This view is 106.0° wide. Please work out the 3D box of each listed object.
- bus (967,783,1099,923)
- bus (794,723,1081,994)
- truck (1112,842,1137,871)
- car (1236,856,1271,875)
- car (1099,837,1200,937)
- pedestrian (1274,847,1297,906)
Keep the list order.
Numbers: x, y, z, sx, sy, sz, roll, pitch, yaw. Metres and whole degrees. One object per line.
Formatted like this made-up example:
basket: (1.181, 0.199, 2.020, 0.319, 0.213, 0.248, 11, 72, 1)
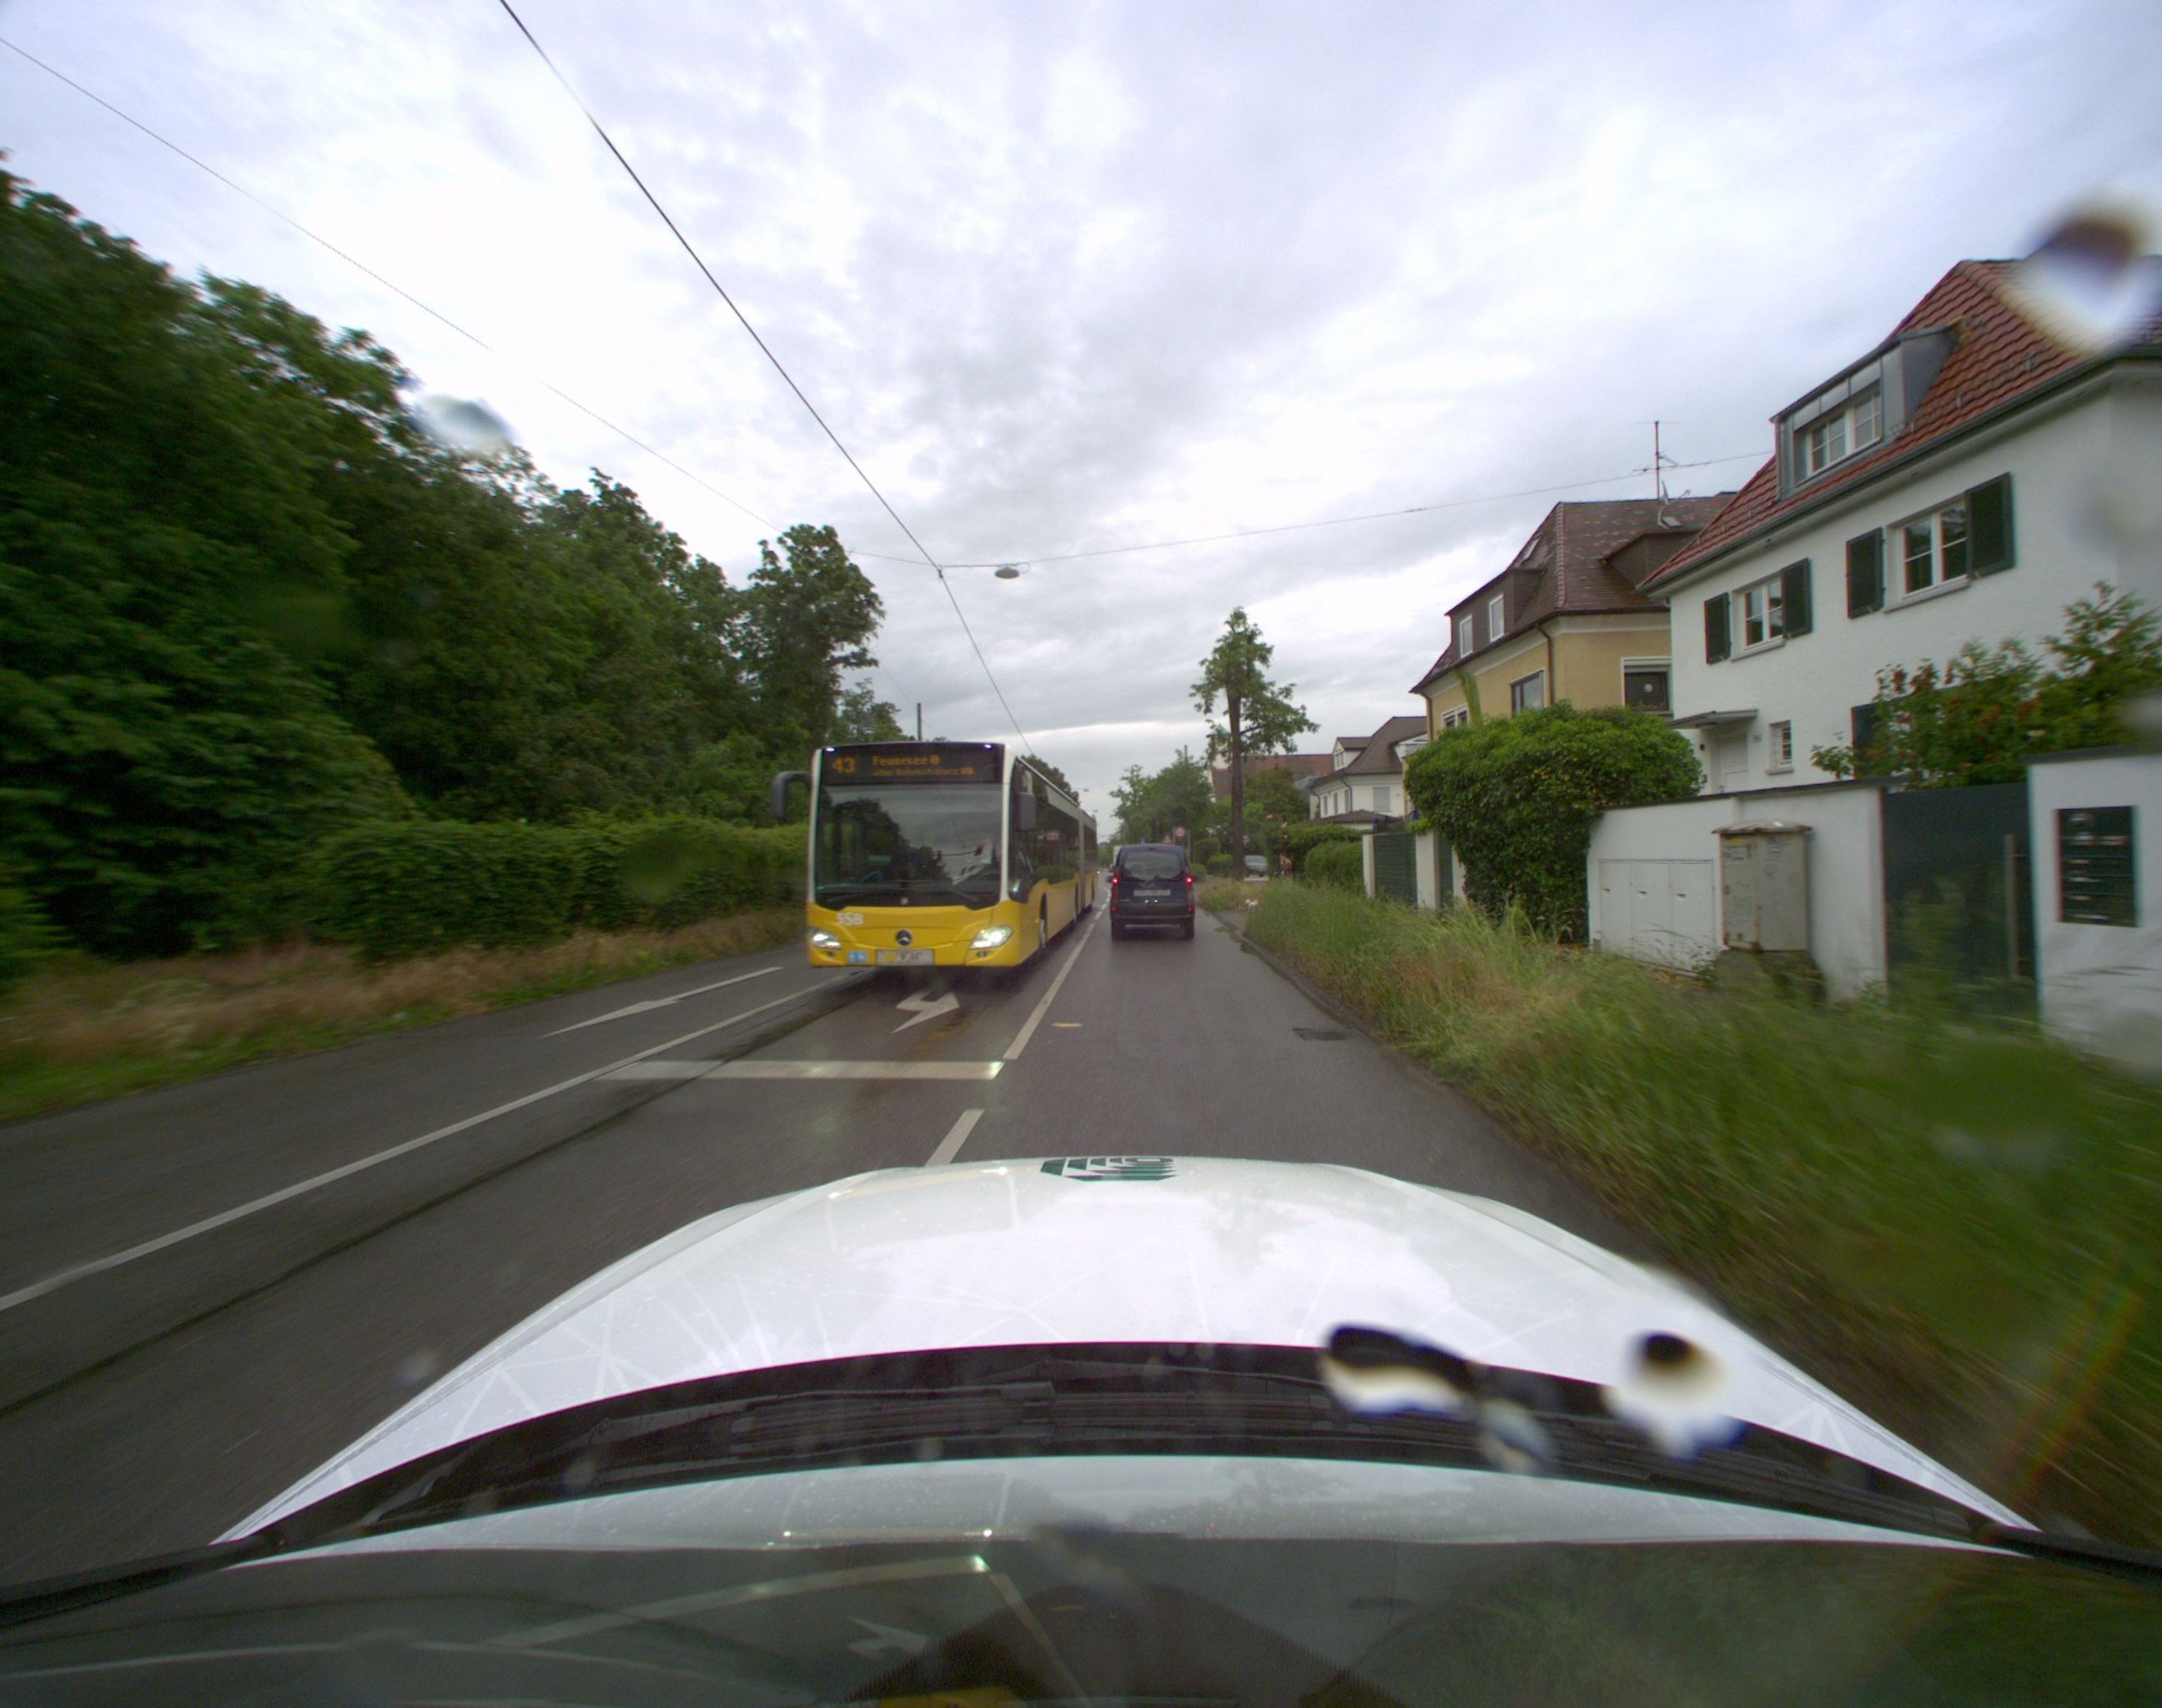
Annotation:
bus: (-1.004, 0.013, 22.790, 2.583, 3.158, 8.644, 0, 0, 4)
bus: (-1.646, 0.090, 13.831, 2.632, 3.044, 9.239, 0, 0, 4)
truck: (5.281, 0.294, 99.964, 2.723, 3.387, 6.684, -2, -1, 0)
car: (11.403, 0.747, 54.075, 1.823, 1.176, 4.006, 0, 0, 5)
car: (1.376, 0.631, 17.000, 1.801, 1.797, 4.003, -1, -1, 3)
pedestrian: (5.394, 0.597, 21.496, 0.480, 1.534, 0.439, 0, -1, 0)
